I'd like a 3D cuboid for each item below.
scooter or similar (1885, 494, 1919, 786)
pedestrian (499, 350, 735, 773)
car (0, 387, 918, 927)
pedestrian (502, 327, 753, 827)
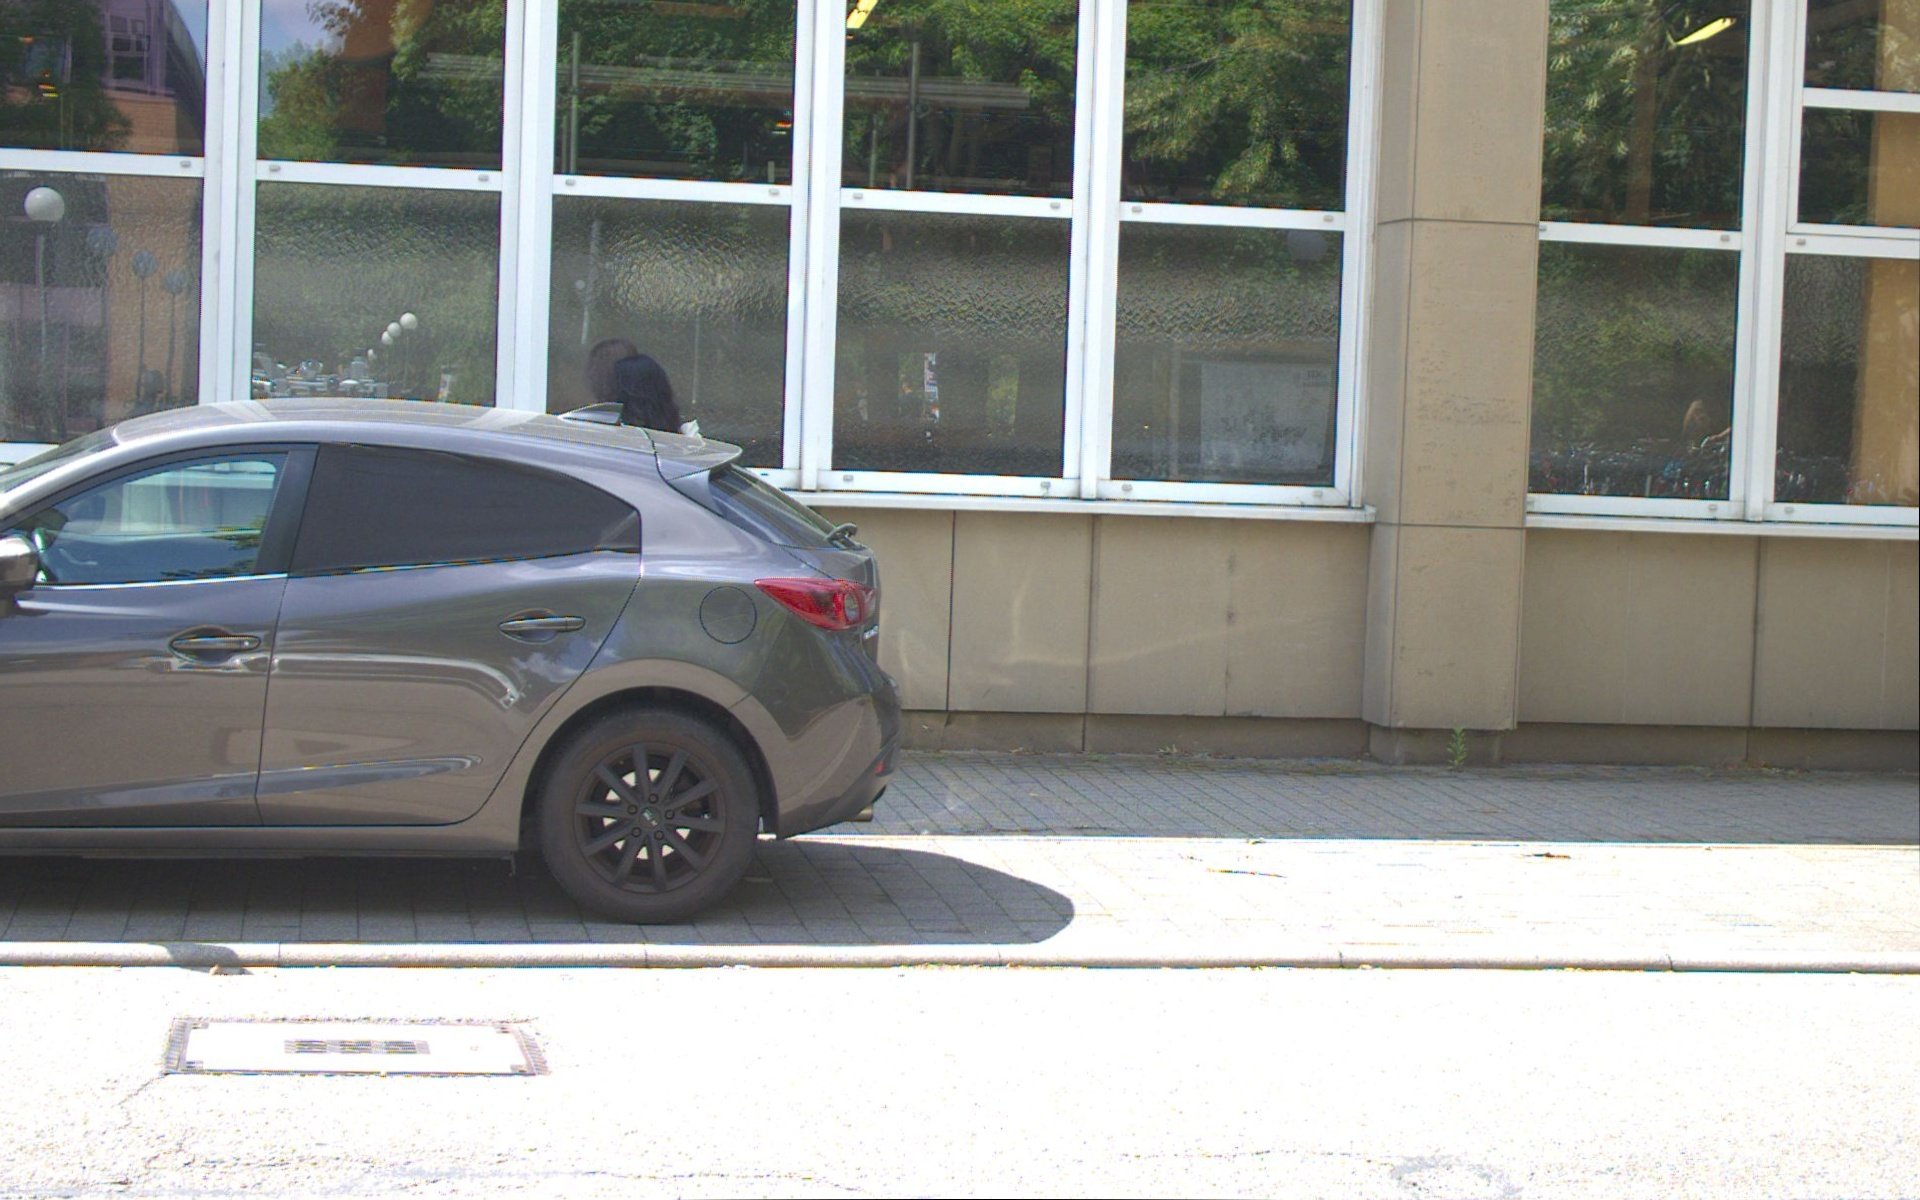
[{"bbox_3d":[4.623,0.176,14.583,1.241,1.203,0.384,1,5,-11],"label":"scooter or similar"},{"bbox_3d":[-1.306,-0.159,12.982,0.795,1.536,0.664,1,4,-10],"label":"pedestrian"},{"bbox_3d":[-2.400,0.116,10.406,4.274,1.430,1.732,1,5,-11],"label":"car"},{"bbox_3d":[-1.195,-0.094,12.253,0.795,1.722,0.602,1,4,-10],"label":"pedestrian"}]
